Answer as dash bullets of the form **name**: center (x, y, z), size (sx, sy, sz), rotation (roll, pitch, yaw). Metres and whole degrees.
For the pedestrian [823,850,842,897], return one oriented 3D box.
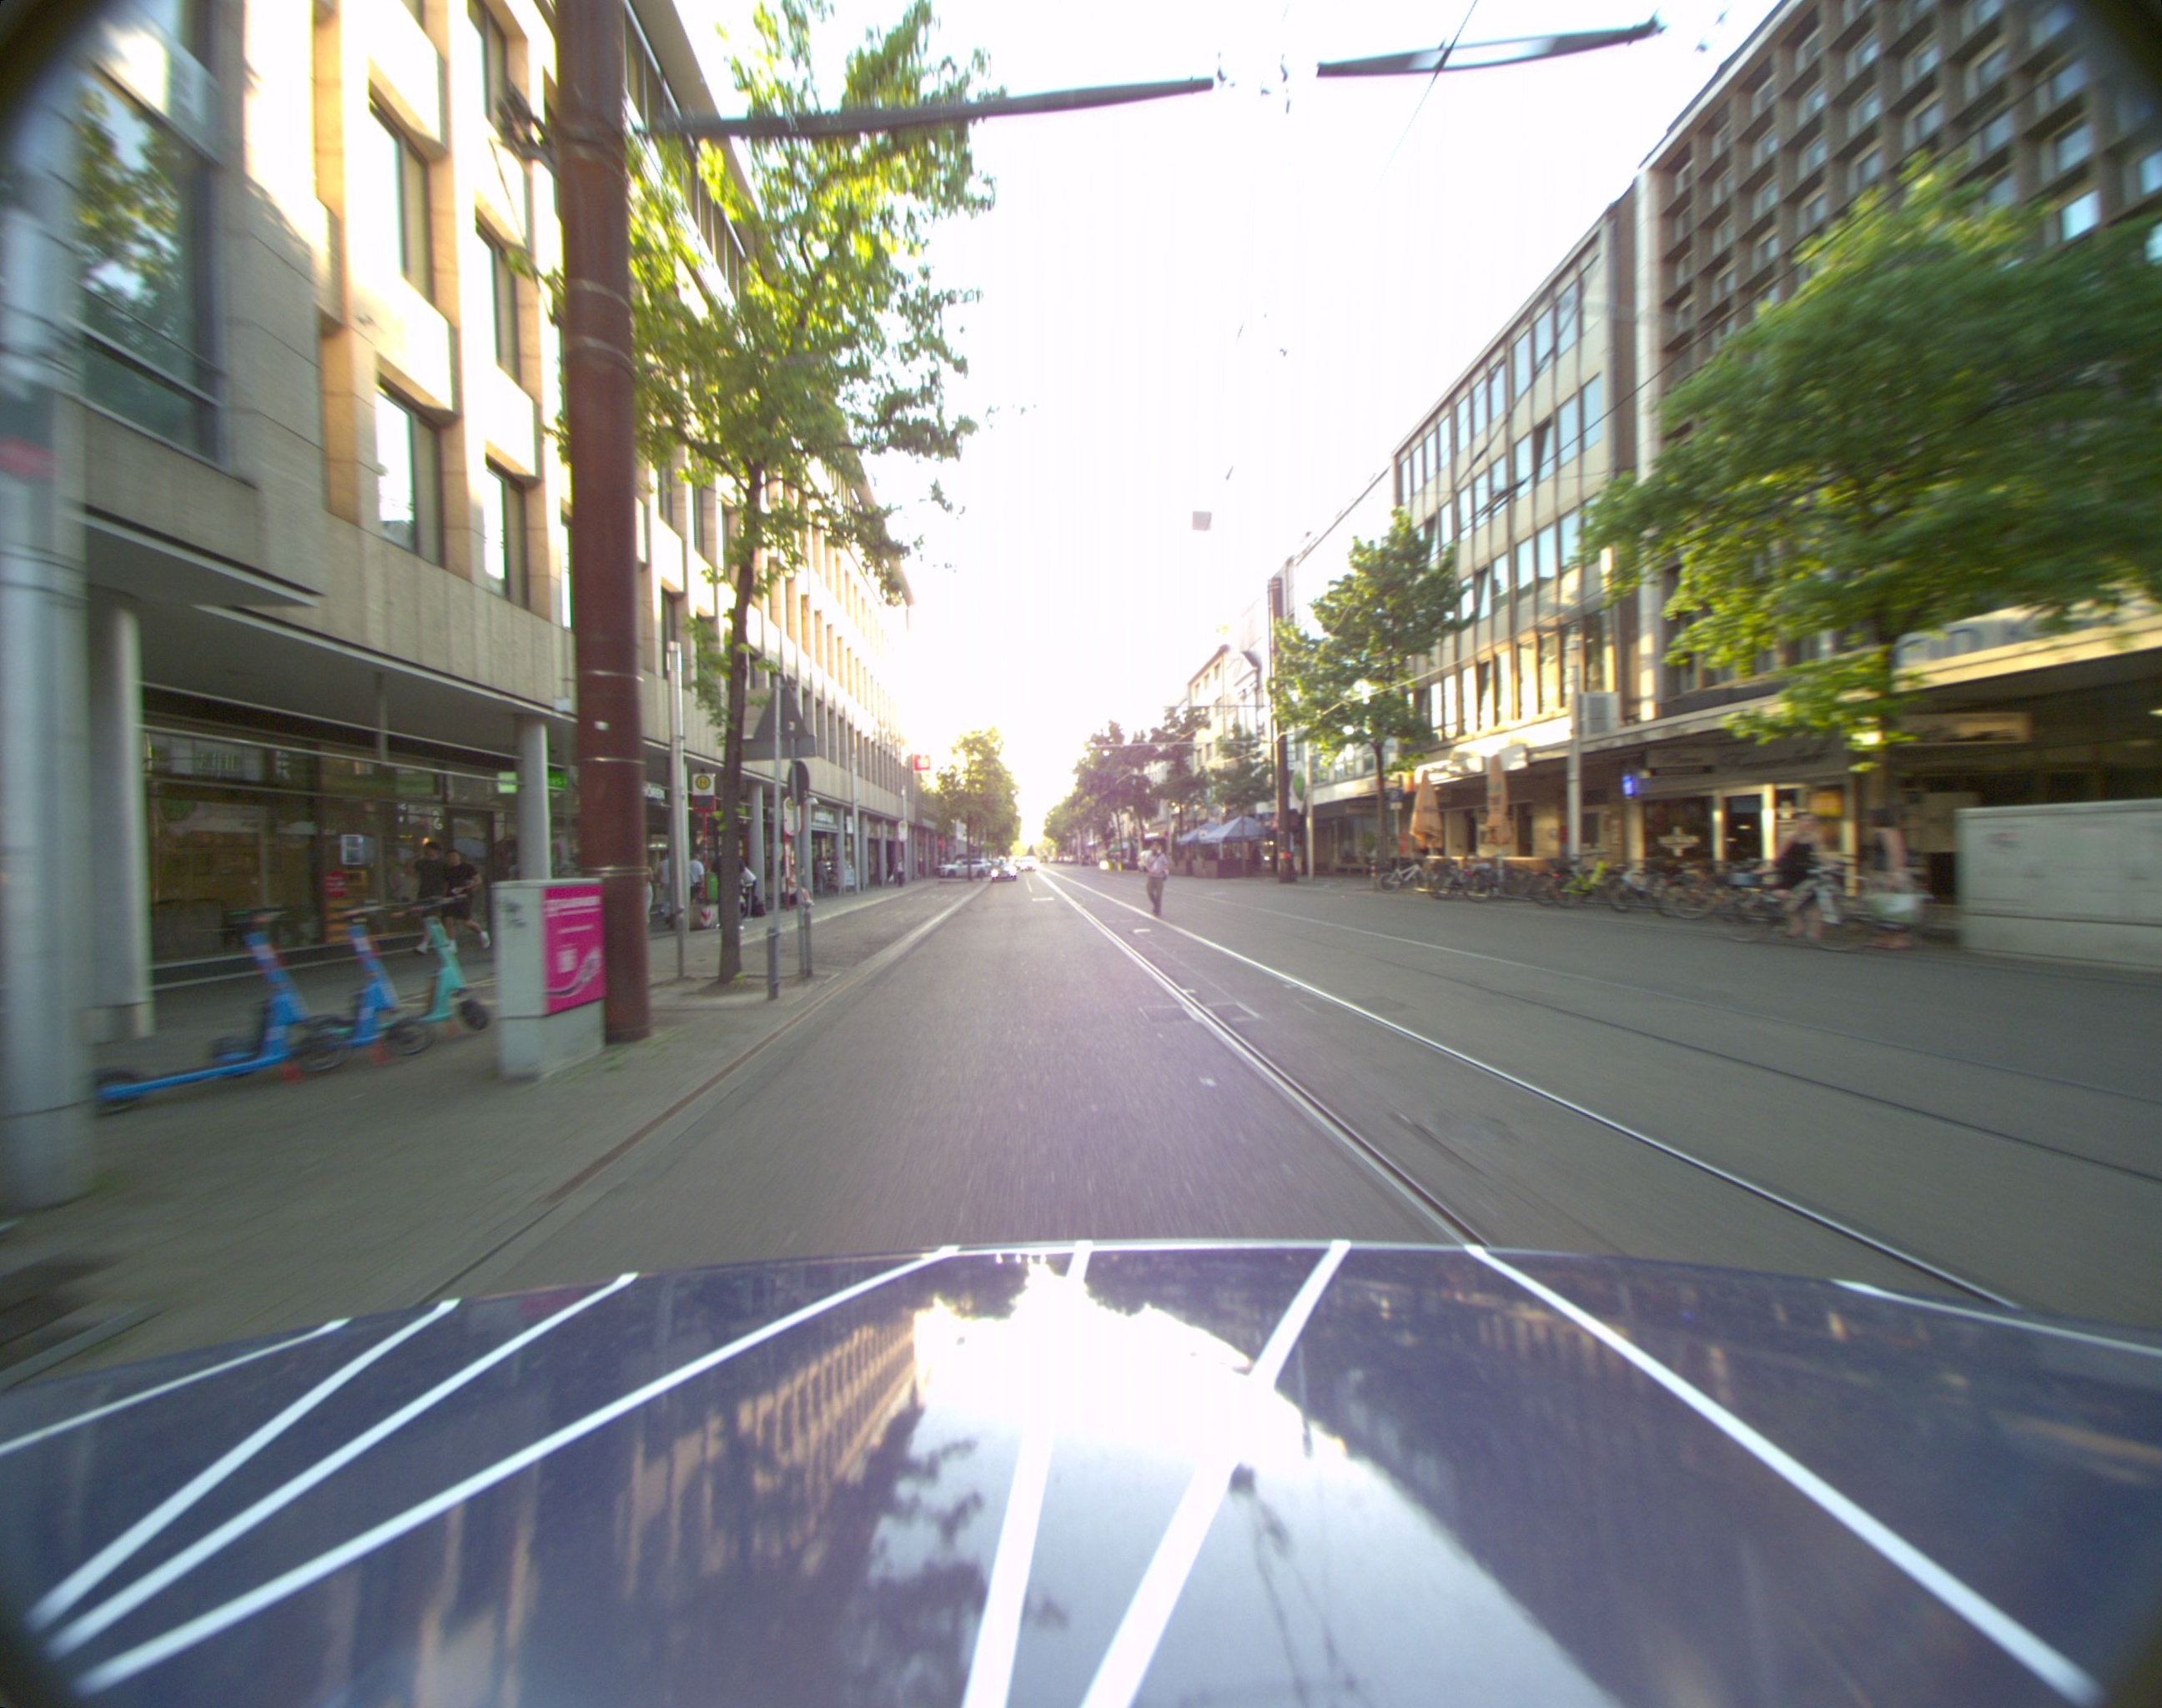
- **pedestrian**: center (-10.302, 0.805, 31.551), size (0.580, 1.933, 0.655), rotation (-1, 1, -4)

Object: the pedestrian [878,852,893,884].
- **pedestrian**: center (-11.773, 0.816, 45.712), size (0.709, 1.878, 0.796), rotation (-1, 1, -3)

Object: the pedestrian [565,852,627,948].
- **pedestrian**: center (-9.597, 0.881, 15.072), size (0.670, 1.829, 0.879), rotation (-1, 1, -4)

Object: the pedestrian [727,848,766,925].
- **pedestrian**: center (-8.181, 0.782, 18.614), size (0.641, 1.829, 0.667), rotation (-1, 1, -3)

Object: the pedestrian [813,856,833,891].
- **pedestrian**: center (-12.276, 0.907, 36.194), size (0.683, 1.634, 0.788), rotation (-1, 1, -5)

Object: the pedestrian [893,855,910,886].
- **pedestrian**: center (-9.445, 0.882, 40.030), size (0.670, 1.579, 0.638), rotation (-3, 1, -4)

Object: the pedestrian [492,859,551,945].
- **pedestrian**: center (-10.986, 0.924, 14.936), size (0.650, 1.651, 0.680), rotation (-1, 1, -3)

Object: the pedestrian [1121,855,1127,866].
- **pedestrian**: center (5.116, 0.777, 90.364), size (0.649, 1.378, 0.650), rotation (-1, 0, 3)

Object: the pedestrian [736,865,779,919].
- **pedestrian**: center (-8.563, 0.991, 20.123), size (0.815, 1.373, 0.662), rotation (-2, 1, -2)

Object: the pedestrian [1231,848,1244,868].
- **pedestrian**: center (11.421, 0.295, 55.444), size (0.663, 1.426, 0.642), rotation (-6, 2, -4)

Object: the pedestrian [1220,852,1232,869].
- **pedestrian**: center (10.439, 0.463, 54.633), size (0.643, 1.150, 0.665), rotation (-4, 2, -6)

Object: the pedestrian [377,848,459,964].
- **pedestrian**: center (-11.123, 0.845, 12.771), size (0.689, 1.872, 0.773), rotation (-1, 1, -5)

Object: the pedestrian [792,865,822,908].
- **pedestrian**: center (-8.718, 1.036, 24.212), size (0.720, 1.307, 0.524), rotation (-2, 1, -2)

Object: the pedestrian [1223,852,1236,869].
- **pedestrian**: center (10.479, 0.471, 53.559), size (0.643, 1.150, 0.665), rotation (-4, 2, -6)

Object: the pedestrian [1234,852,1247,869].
- **pedestrian**: center (11.279, 0.439, 53.757), size (0.643, 1.150, 0.665), rotation (-4, 2, -6)

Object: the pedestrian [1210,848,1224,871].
- **pedestrian**: center (9.176, 0.361, 51.246), size (0.658, 1.543, 0.565), rotation (-4, 2, -6)

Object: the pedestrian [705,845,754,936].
- **pedestrian**: center (-7.247, 0.730, 15.688), size (0.670, 1.829, 0.708), rotation (-1, 1, -4)

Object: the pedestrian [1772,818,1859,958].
- **pedestrian**: center (9.170, 0.417, 9.507), size (0.601, 1.689, 0.537), rotation (-2, 0, 25)

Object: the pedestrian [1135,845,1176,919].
- **pedestrian**: center (1.859, 0.692, 18.917), size (0.821, 1.782, 0.991), rotation (-1, 0, 15)

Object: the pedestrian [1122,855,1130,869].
- **pedestrian**: center (4.749, 0.846, 80.163), size (0.650, 1.451, 0.650), rotation (-1, 0, -3)

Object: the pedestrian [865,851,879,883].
- **pedestrian**: center (-12.317, 0.766, 44.710), size (0.618, 1.878, 0.683), rotation (-1, 1, -3)

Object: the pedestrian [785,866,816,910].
- **pedestrian**: center (-8.744, 1.042, 23.672), size (0.720, 1.307, 0.532), rotation (-2, 1, -2)

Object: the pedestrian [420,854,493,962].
- **pedestrian**: center (-10.454, 0.877, 12.751), size (0.584, 1.742, 0.773), rotation (-1, 1, -5)

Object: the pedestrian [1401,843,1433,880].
- **pedestrian**: center (12.585, 0.272, 28.470), size (0.672, 1.318, 0.911), rotation (-4, 1, -5)

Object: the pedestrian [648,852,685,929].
- **pedestrian**: center (-9.832, 0.846, 18.034), size (0.540, 1.796, 0.604), rotation (-1, 1, -5)

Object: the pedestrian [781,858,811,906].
- **pedestrian**: center (-9.484, 0.905, 25.309), size (0.726, 1.561, 0.736), rotation (-1, 1, -2)

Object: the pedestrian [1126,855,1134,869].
- **pedestrian**: center (5.098, 0.841, 79.245), size (0.648, 1.451, 0.651), rotation (-1, 1, 26)

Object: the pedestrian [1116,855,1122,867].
- **pedestrian**: center (4.523, 0.800, 90.353), size (0.649, 1.378, 0.650), rotation (-1, 0, 3)

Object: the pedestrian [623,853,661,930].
- **pedestrian**: center (-10.370, 0.867, 17.976), size (0.540, 1.796, 0.604), rotation (-1, 1, -5)

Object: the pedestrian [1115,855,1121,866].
- **pedestrian**: center (4.441, 0.792, 91.592), size (0.649, 1.378, 0.650), rotation (-1, 0, 3)

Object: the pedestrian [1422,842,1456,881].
- **pedestrian**: center (12.856, 0.266, 27.293), size (0.672, 1.318, 0.911), rotation (-4, 1, -5)

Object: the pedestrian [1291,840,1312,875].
- **pedestrian**: center (11.786, 0.170, 40.622), size (0.686, 1.782, 0.990), rotation (-4, 1, -3)

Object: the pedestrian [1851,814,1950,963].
- **pedestrian**: center (9.676, 0.403, 8.991), size (0.601, 1.689, 0.537), rotation (-2, 0, 25)

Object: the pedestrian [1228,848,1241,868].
- **pedestrian**: center (11.361, 0.291, 56.160), size (0.663, 1.426, 0.642), rotation (-6, 2, -4)
